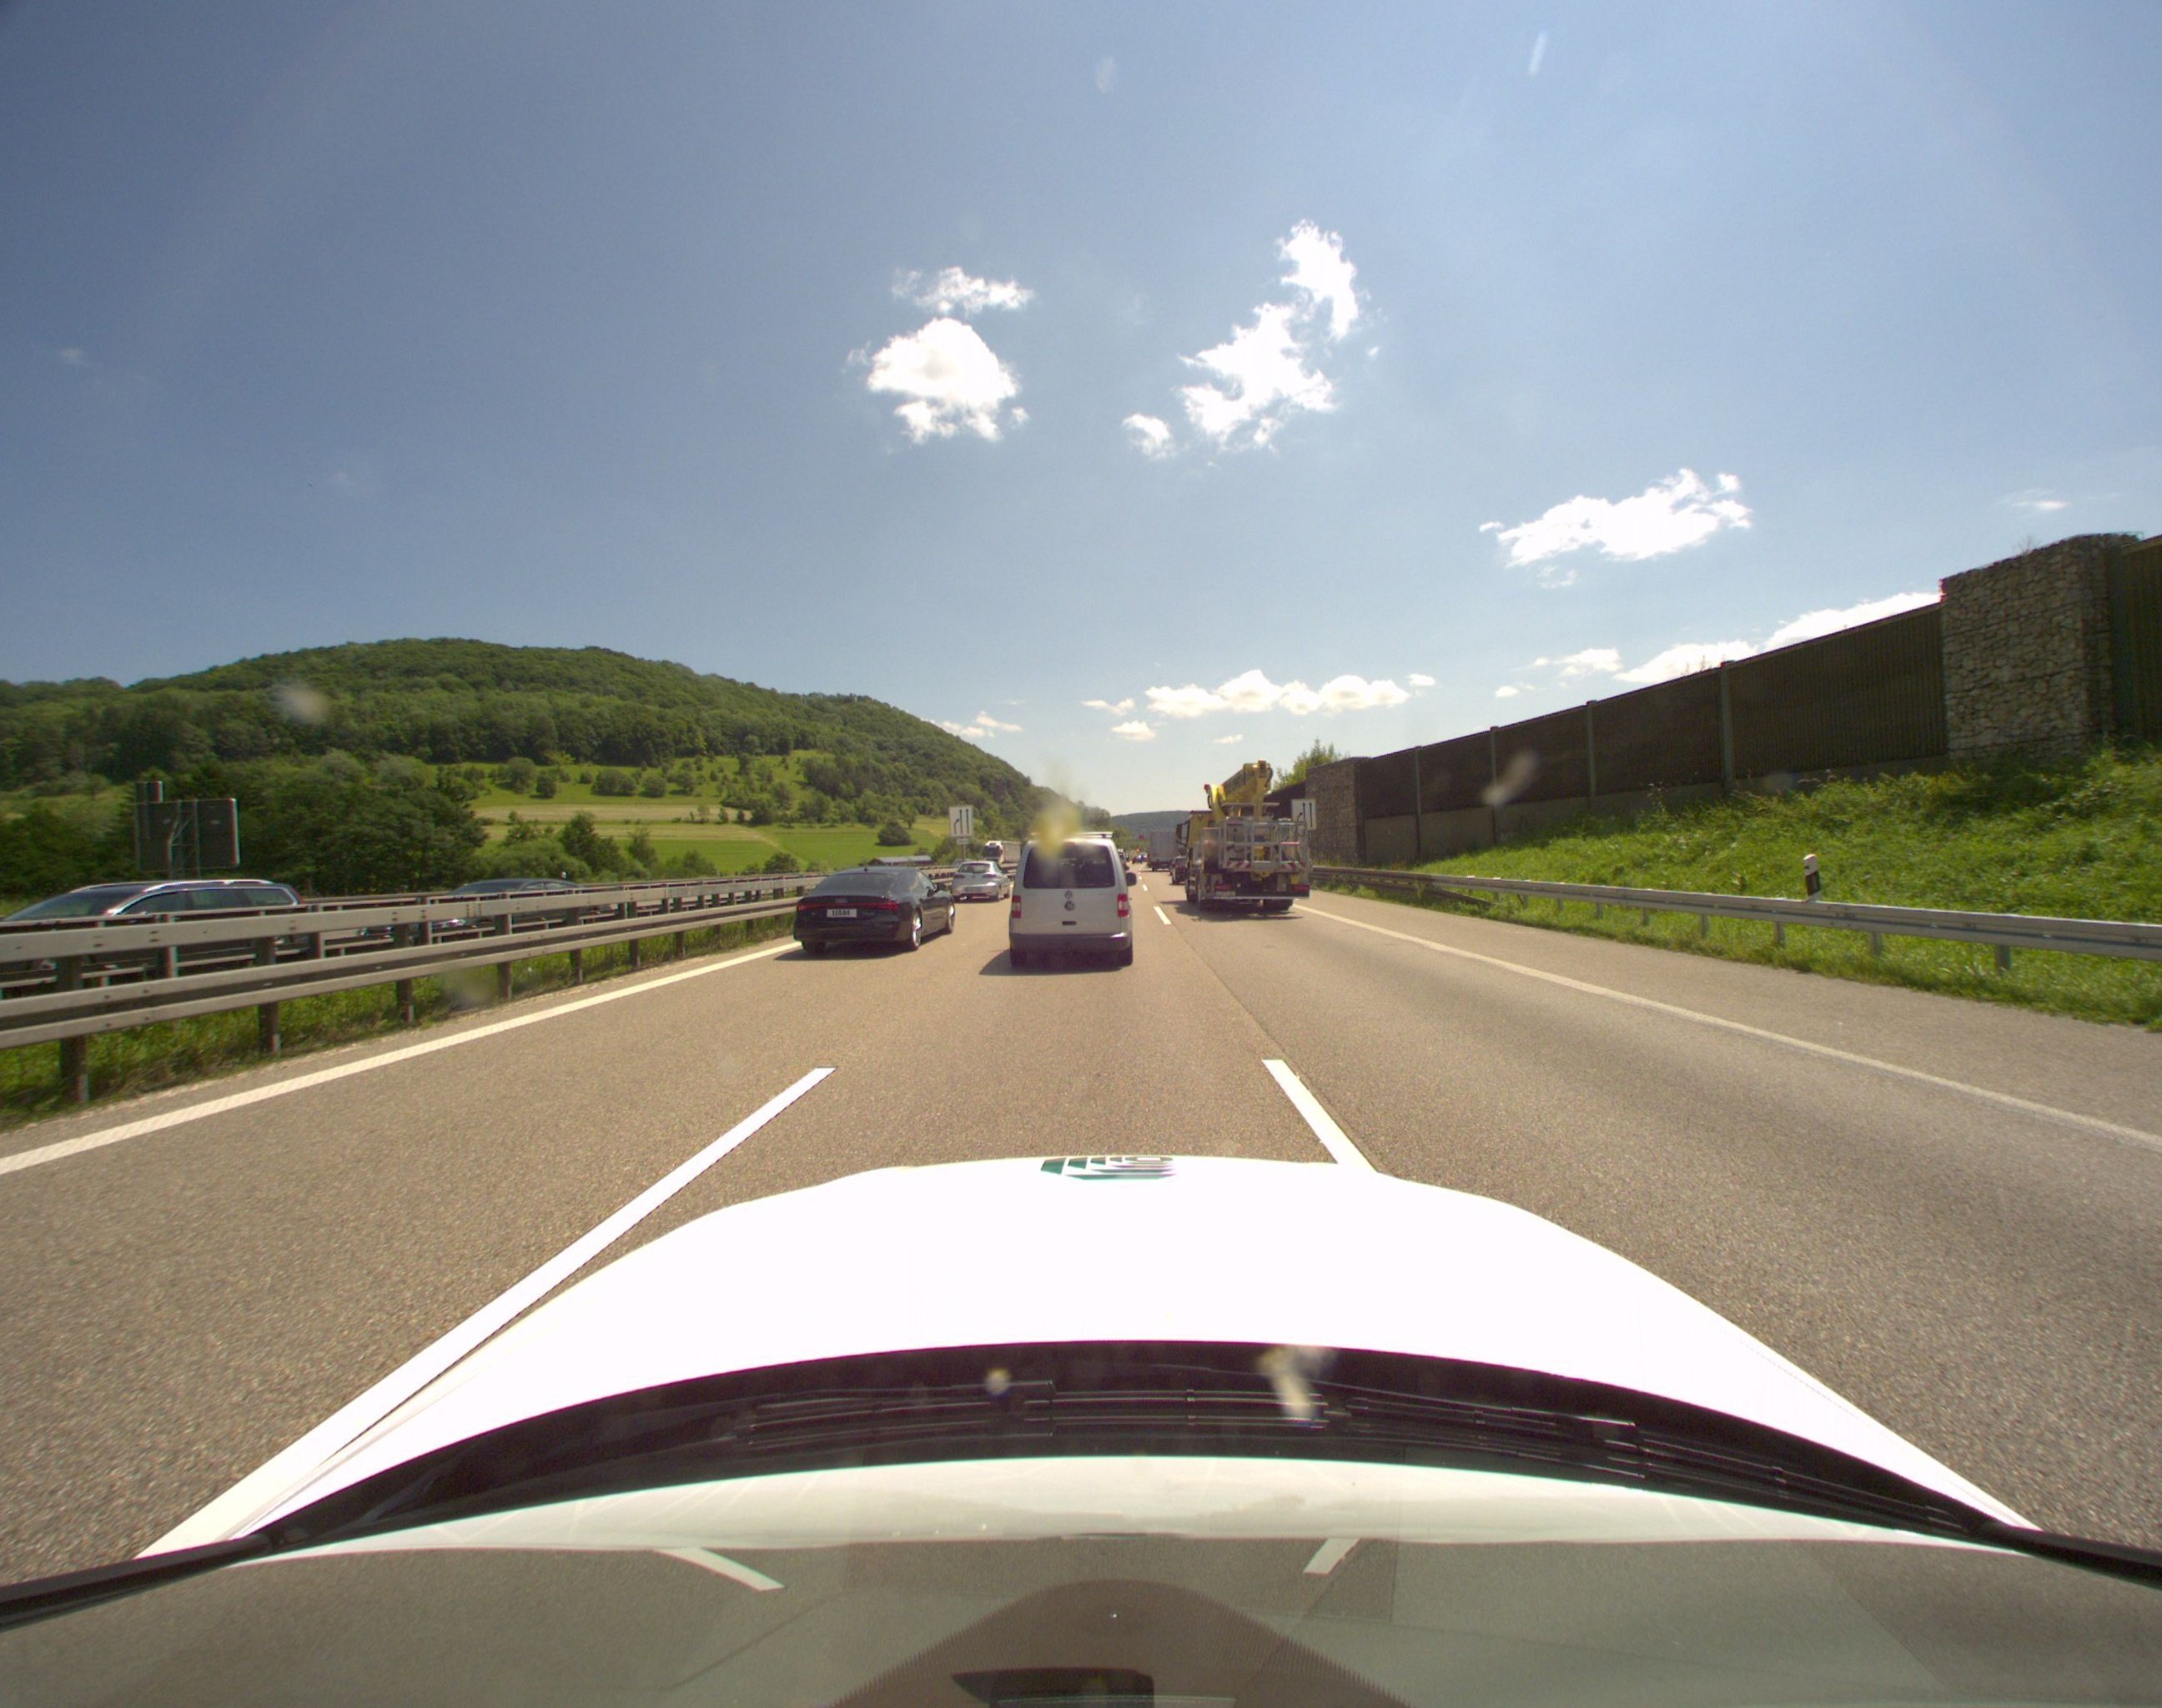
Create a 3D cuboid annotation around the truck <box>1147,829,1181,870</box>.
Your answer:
[{"bbox_3d":[8.124,-0.409,80.371,2.928,3.823,8.243,0,-1,3],"label":"truck"}]

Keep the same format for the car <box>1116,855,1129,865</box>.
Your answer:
[{"bbox_3d":[7.668,1.173,151.138,2.107,1.828,4.000,0,-1,0],"label":"car"}]

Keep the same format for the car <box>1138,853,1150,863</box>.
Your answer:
[{"bbox_3d":[12.520,0.848,161.098,2.107,1.828,4.000,0,-1,0],"label":"car"}]

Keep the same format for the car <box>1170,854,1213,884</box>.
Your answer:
[{"bbox_3d":[5.741,0.771,42.795,1.780,1.458,3.771,-1,0,0],"label":"car"}]

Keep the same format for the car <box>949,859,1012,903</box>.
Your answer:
[{"bbox_3d":[-3.533,0.917,29.257,1.690,1.445,3.862,-1,0,1],"label":"car"}]

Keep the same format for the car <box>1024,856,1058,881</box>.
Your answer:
[{"bbox_3d":[-2.476,0.888,51.094,1.918,1.499,4.000,-1,0,0],"label":"car"}]

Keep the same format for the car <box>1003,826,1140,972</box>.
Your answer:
[{"bbox_3d":[-0.102,0.594,12.623,1.750,1.868,4.000,-1,0,1],"label":"car"}]

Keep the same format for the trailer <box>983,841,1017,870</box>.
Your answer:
[{"bbox_3d":[-12.009,0.291,122.290,2.842,4.191,13.626,0,-1,3],"label":"trailer"}]

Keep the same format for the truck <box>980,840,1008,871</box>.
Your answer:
[{"bbox_3d":[-12.390,0.217,116.429,2.786,4.232,7.237,0,-1,3],"label":"truck"}]

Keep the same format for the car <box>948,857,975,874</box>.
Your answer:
[{"bbox_3d":[-11.603,1.114,79.504,1.842,1.609,4.080,-1,0,2],"label":"car"}]

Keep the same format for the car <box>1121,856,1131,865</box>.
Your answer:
[{"bbox_3d":[9.596,1.391,173.097,1.986,1.805,4.001,0,-1,2],"label":"car"}]

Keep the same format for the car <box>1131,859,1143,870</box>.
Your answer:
[{"bbox_3d":[9.607,1.772,138.987,1.985,1.749,4.003,0,-1,3],"label":"car"}]

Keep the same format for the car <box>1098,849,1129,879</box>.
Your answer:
[{"bbox_3d":[2.184,0.656,56.151,1.987,1.975,4.000,-1,0,0],"label":"car"}]

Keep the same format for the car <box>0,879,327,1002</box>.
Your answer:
[{"bbox_3d":[-15.298,1.240,13.112,1.986,1.518,4.523,-1,0,2],"label":"car"}]

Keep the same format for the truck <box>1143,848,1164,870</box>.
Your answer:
[{"bbox_3d":[9.163,0.624,102.719,2.377,2.541,5.950,-1,0,7],"label":"truck"}]

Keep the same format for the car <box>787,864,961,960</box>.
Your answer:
[{"bbox_3d":[-3.533,0.914,14.923,1.794,1.390,4.970,-1,0,1],"label":"car"}]

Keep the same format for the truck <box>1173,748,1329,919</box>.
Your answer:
[{"bbox_3d":[4.470,-0.471,23.462,2.695,3.942,8.722,-1,0,1],"label":"truck"}]

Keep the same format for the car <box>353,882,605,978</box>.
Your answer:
[{"bbox_3d":[-11.601,1.377,16.137,1.726,1.476,4.231,-1,0,2],"label":"car"}]

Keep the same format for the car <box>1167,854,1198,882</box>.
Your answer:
[{"bbox_3d":[7.821,1.056,62.810,1.986,2.013,4.002,-1,0,2],"label":"car"}]
